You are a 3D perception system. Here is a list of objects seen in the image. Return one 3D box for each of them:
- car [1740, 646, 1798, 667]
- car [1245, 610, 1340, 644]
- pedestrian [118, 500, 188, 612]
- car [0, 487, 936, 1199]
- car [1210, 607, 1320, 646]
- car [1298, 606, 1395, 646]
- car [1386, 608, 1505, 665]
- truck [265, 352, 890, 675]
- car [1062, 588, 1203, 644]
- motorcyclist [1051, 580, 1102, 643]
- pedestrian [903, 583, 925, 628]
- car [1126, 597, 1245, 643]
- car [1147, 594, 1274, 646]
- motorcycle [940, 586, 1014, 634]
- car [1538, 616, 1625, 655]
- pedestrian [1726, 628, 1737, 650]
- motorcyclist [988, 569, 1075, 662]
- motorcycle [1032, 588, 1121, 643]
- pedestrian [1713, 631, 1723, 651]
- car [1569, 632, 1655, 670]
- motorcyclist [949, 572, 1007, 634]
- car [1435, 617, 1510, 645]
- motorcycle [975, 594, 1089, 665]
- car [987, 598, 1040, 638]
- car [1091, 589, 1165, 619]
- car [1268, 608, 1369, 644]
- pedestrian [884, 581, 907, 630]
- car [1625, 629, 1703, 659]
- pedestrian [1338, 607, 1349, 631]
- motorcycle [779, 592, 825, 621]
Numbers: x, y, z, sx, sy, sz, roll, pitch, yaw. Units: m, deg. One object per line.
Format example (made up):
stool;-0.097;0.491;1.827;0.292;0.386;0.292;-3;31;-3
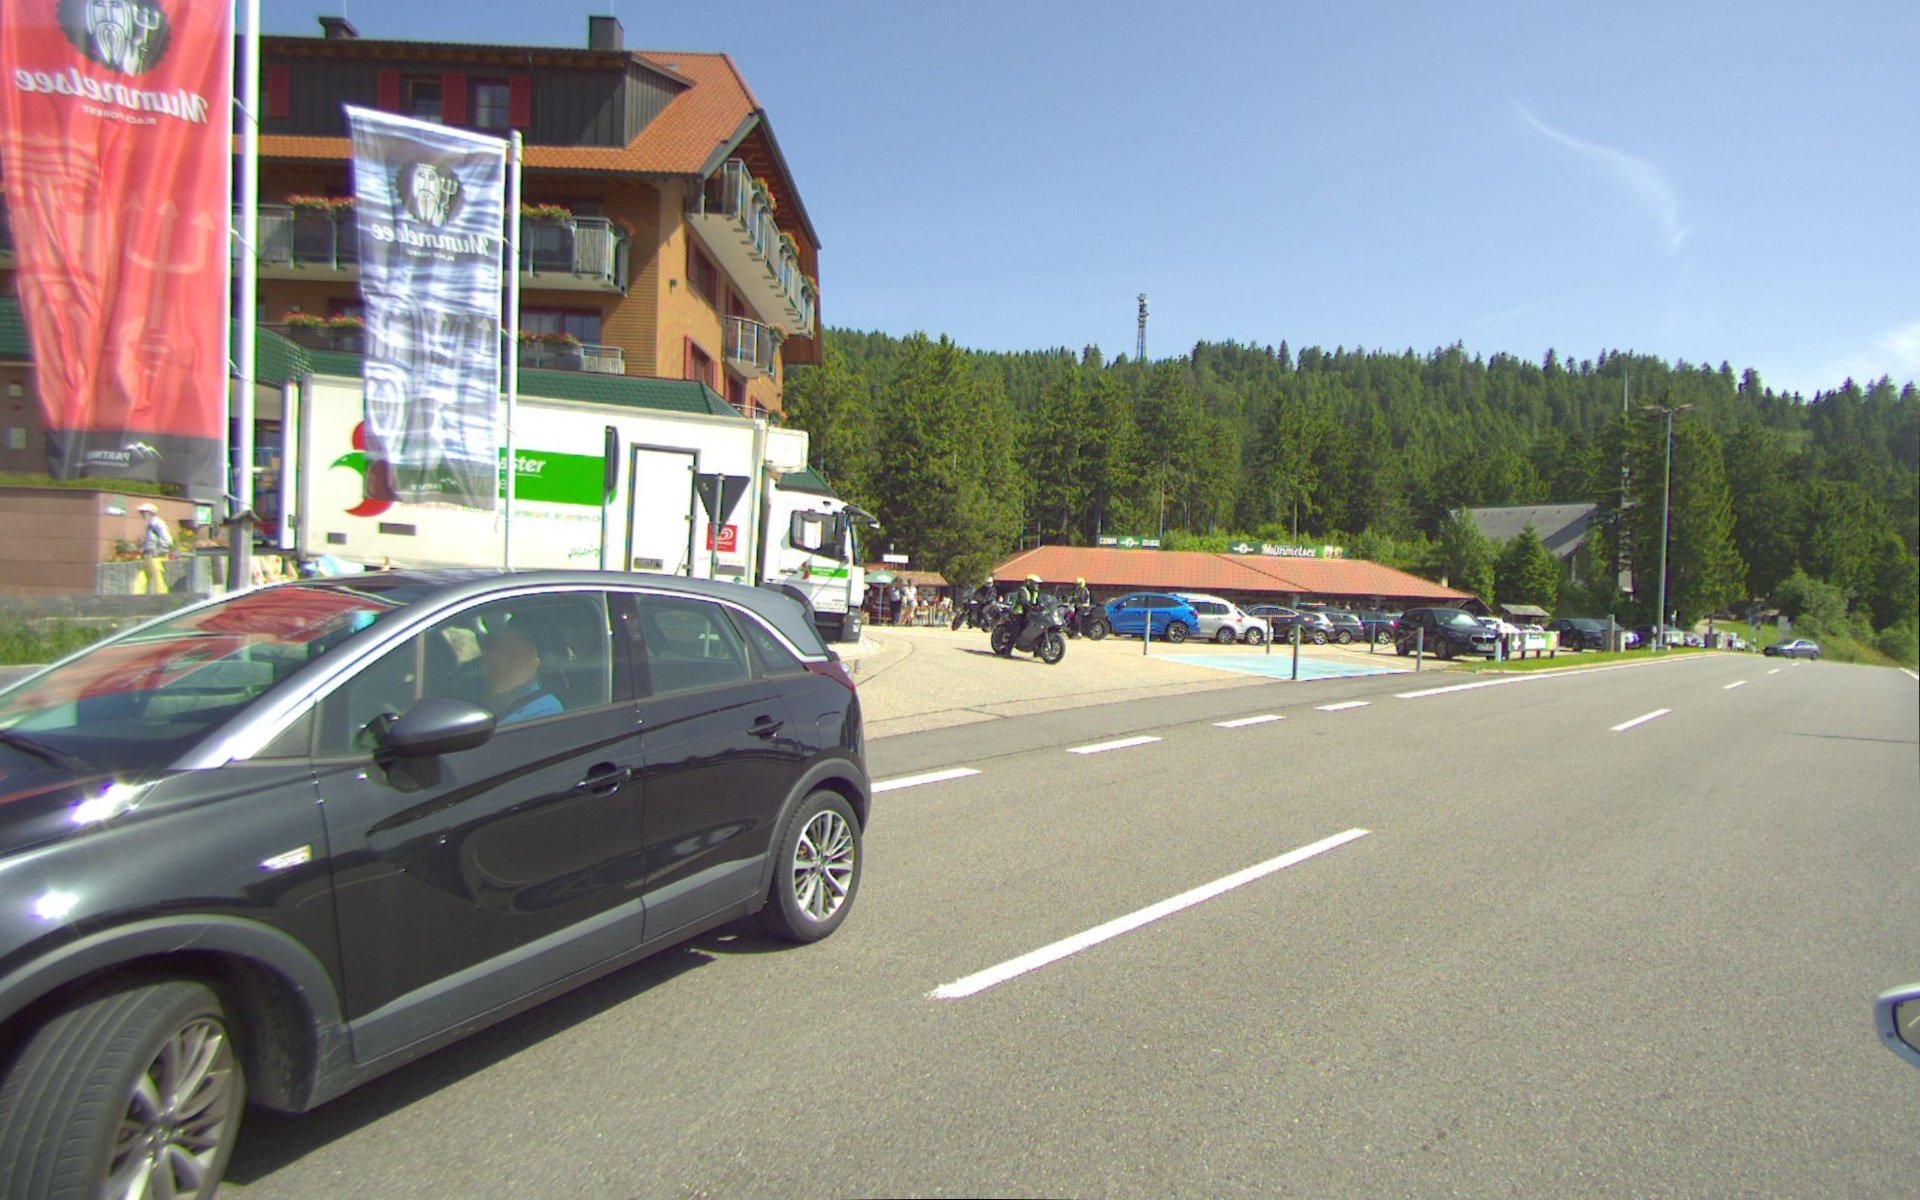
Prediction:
car;63.958;4.460;79.419;3.306;1.448;1.584;2;1;-2
car;14.482;1.171;43.864;3.569;1.339;1.587;2;1;-4
pedestrian;-12.734;-0.682;15.855;0.641;1.712;0.574;1;1;-10
car;-1.929;0.640;3.563;1.950;1.638;4.144;-1;-1;27
car;12.508;1.059;41.363;3.922;1.449;1.913;2;1;-2
car;18.469;1.237;48.131;3.920;1.727;1.827;2;1;4
car;15.121;1.076;31.524;1.772;1.561;4.193;2;0;2
truck;-5.678;-1.236;16.337;8.614;4.025;3.065;4;3;-9
car;5.916;0.548;34.783;4.457;1.686;1.939;3;1;-2
motorcyclist;3.433;0.338;29.825;1.224;1.742;1.064;4;0;-3
pedestrian;-1.602;0.193;34.782;0.613;1.509;0.703;2;1;7
car;8.261;0.719;37.083;3.921;1.566;2.000;2;1;0
car;9.704;0.752;39.119;4.440;1.888;1.835;2;1;1
motorcycle;0.542;0.323;31.083;0.867;1.273;2.264;5;-1;45
car;28.622;1.601;46.404;1.747;1.573;4.001;2;0;5
pedestrian;66.734;3.394;86.872;0.644;1.823;0.640;4;2;37
motorcyclist;1.394;0.289;19.695;1.021;1.697;1.277;1;3;-42
motorcycle;3.432;0.462;29.814;2.398;1.425;1.005;5;0;-3
pedestrian;65.933;3.540;87.367;0.644;1.688;0.641;3;-1;37
car;33.445;2.586;51.658;1.706;1.588;4.059;3;0;-1
motorcyclist;0.558;0.091;31.074;0.913;1.740;1.443;5;-1;45
car;32.932;1.967;64.594;3.953;1.694;1.776;2;-1;-3
motorcycle;1.377;0.557;19.759;0.818;1.193;2.258;1;3;-42
car;1.862;0.611;36.118;1.680;1.314;4.000;2;0;0
car;9.531;0.227;57.135;3.807;1.550;1.909;2;1;-4
car;16.463;1.172;46.184;4.000;1.506;1.716;2;1;-2
pedestrian;-2.228;0.176;34.756;0.613;1.654;0.703;2;1;7
car;45.902;2.833;65.588;1.756;1.655;4.206;4;0;-7
pedestrian;30.253;1.481;79.189;0.518;1.898;0.547;3;0;-3
motorcycle;-6.518;0.283;41.468;1.759;0.998;0.480;5;6;-10
